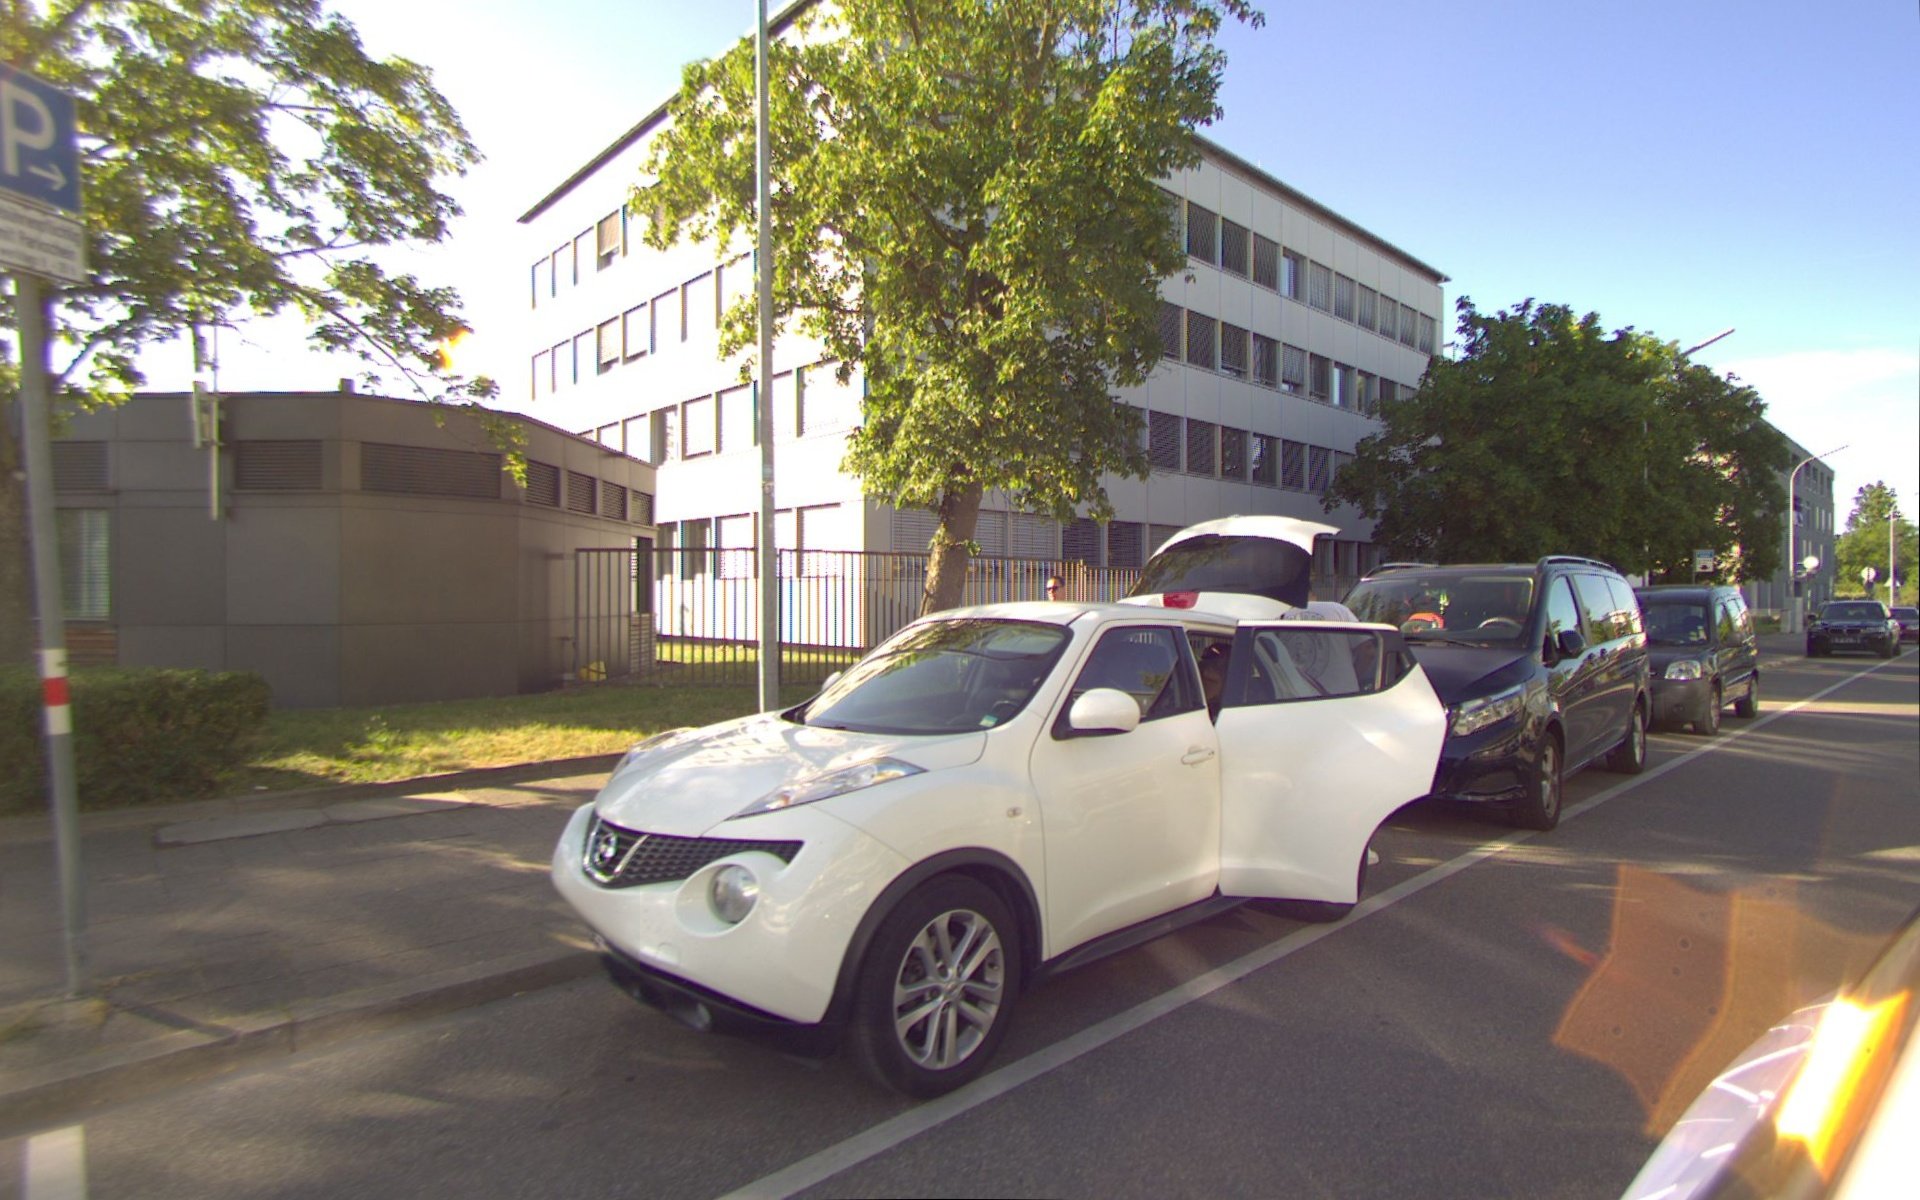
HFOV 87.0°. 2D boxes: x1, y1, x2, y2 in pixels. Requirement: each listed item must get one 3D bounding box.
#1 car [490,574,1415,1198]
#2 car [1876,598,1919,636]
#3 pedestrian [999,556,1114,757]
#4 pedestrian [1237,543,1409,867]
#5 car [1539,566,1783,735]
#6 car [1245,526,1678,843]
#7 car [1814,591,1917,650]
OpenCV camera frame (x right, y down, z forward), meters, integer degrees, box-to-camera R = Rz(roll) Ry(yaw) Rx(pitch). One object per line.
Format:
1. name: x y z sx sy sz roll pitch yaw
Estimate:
1. car: 0.302 0.712 4.498 4.044 1.533 1.666 0 -1 -43
2. car: 38.613 0.654 41.045 4.222 1.462 1.821 0 -1 -43
3. pedestrian: 0.886 0.480 9.292 0.763 1.750 0.692 0 1 -44
4. pedestrian: 2.125 0.575 5.964 0.690 1.768 0.591 0 -2 -25
5. car: 9.063 0.555 12.946 4.222 1.817 1.703 0 -1 -43
6. car: 4.458 0.520 8.509 1.864 1.894 4.943 -2 -1 43
7. car: 26.852 0.577 29.962 4.222 1.646 1.887 0 -1 -43
